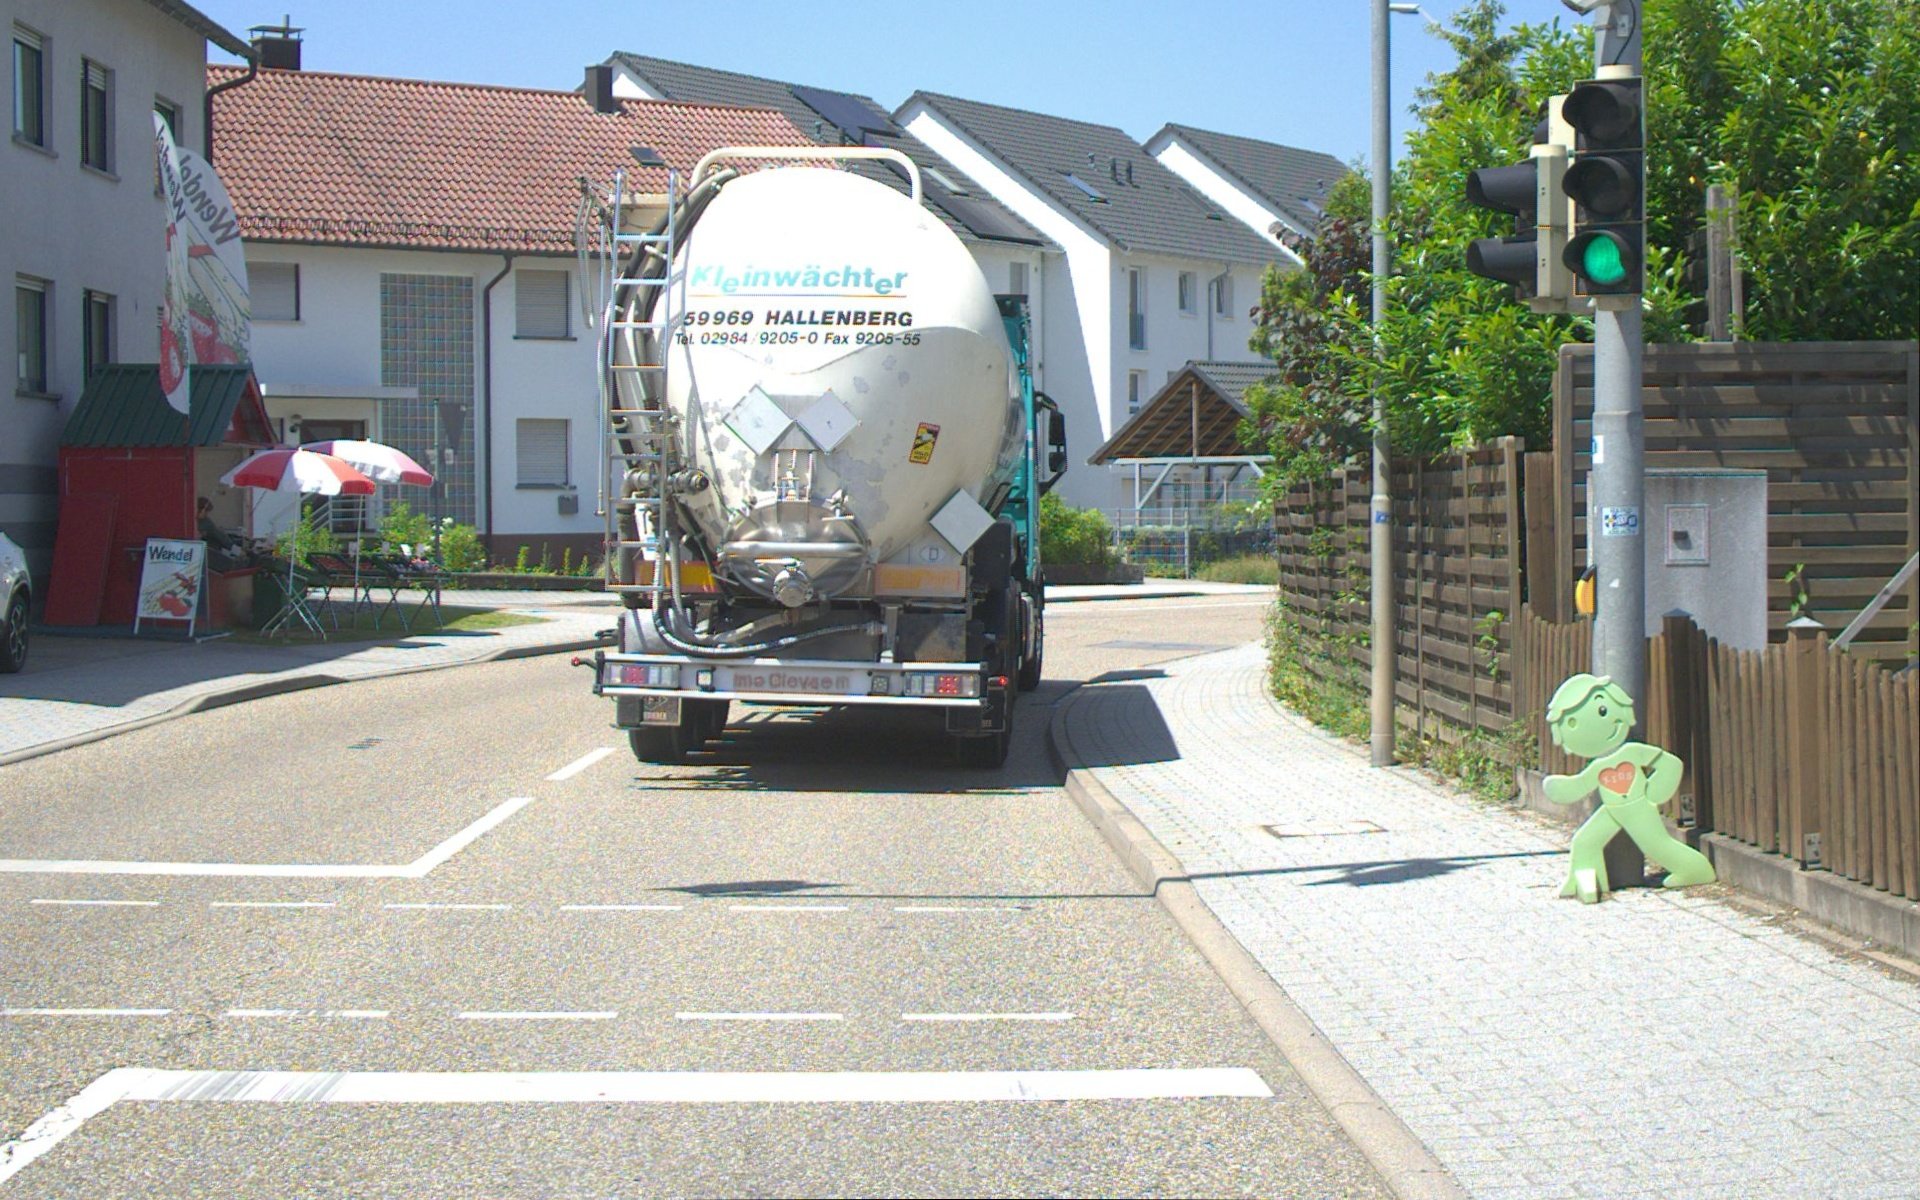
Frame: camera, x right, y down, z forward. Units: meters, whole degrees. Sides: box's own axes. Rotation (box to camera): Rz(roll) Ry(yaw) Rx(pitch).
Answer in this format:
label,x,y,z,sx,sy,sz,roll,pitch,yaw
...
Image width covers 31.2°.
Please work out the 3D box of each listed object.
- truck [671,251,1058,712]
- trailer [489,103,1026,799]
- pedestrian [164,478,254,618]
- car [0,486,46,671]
label,x,y,z,sx,sy,sz,roll,pitch,yaw
truck,-0.776,-1.129,33.506,2.988,3.951,5.578,-3,1,5
trailer,-1.099,-1.013,26.057,2.952,3.934,11.619,-3,1,1
pedestrian,-8.569,-0.597,39.218,0.612,1.582,0.807,1,1,32
car,-8.914,-0.175,28.154,1.730,1.546,4.189,1,1,0
